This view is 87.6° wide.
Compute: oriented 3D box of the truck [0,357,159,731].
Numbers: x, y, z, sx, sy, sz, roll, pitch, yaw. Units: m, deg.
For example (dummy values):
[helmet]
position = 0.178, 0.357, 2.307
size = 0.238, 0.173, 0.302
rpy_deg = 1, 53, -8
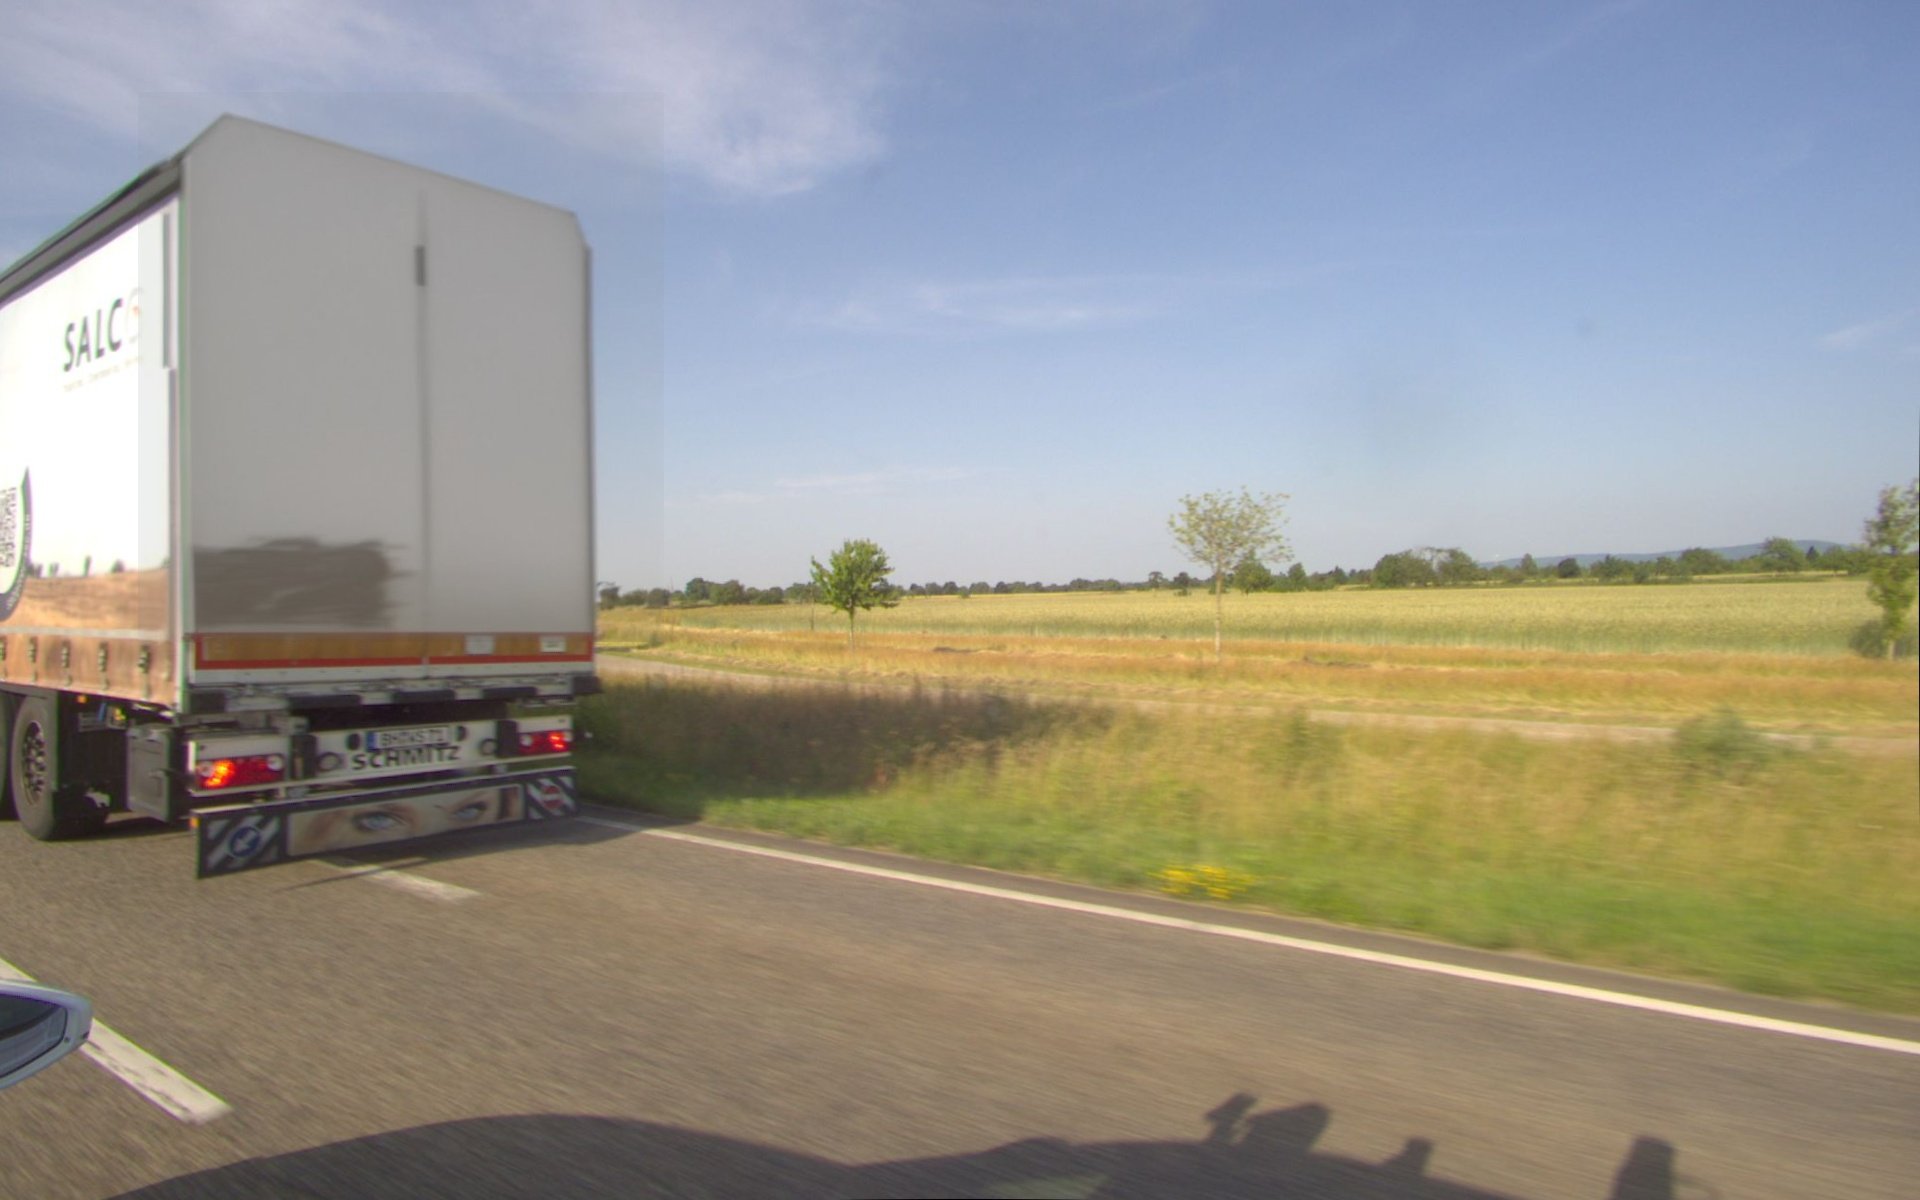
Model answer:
[truck]
position = -14.406, -0.667, 14.235
size = 5.655, 4.718, 3.291
rpy_deg = -1, -1, 35

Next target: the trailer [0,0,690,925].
[trailer]
position = -8.246, -0.712, 9.919
size = 12.971, 4.741, 3.272
rpy_deg = -1, -1, 35
